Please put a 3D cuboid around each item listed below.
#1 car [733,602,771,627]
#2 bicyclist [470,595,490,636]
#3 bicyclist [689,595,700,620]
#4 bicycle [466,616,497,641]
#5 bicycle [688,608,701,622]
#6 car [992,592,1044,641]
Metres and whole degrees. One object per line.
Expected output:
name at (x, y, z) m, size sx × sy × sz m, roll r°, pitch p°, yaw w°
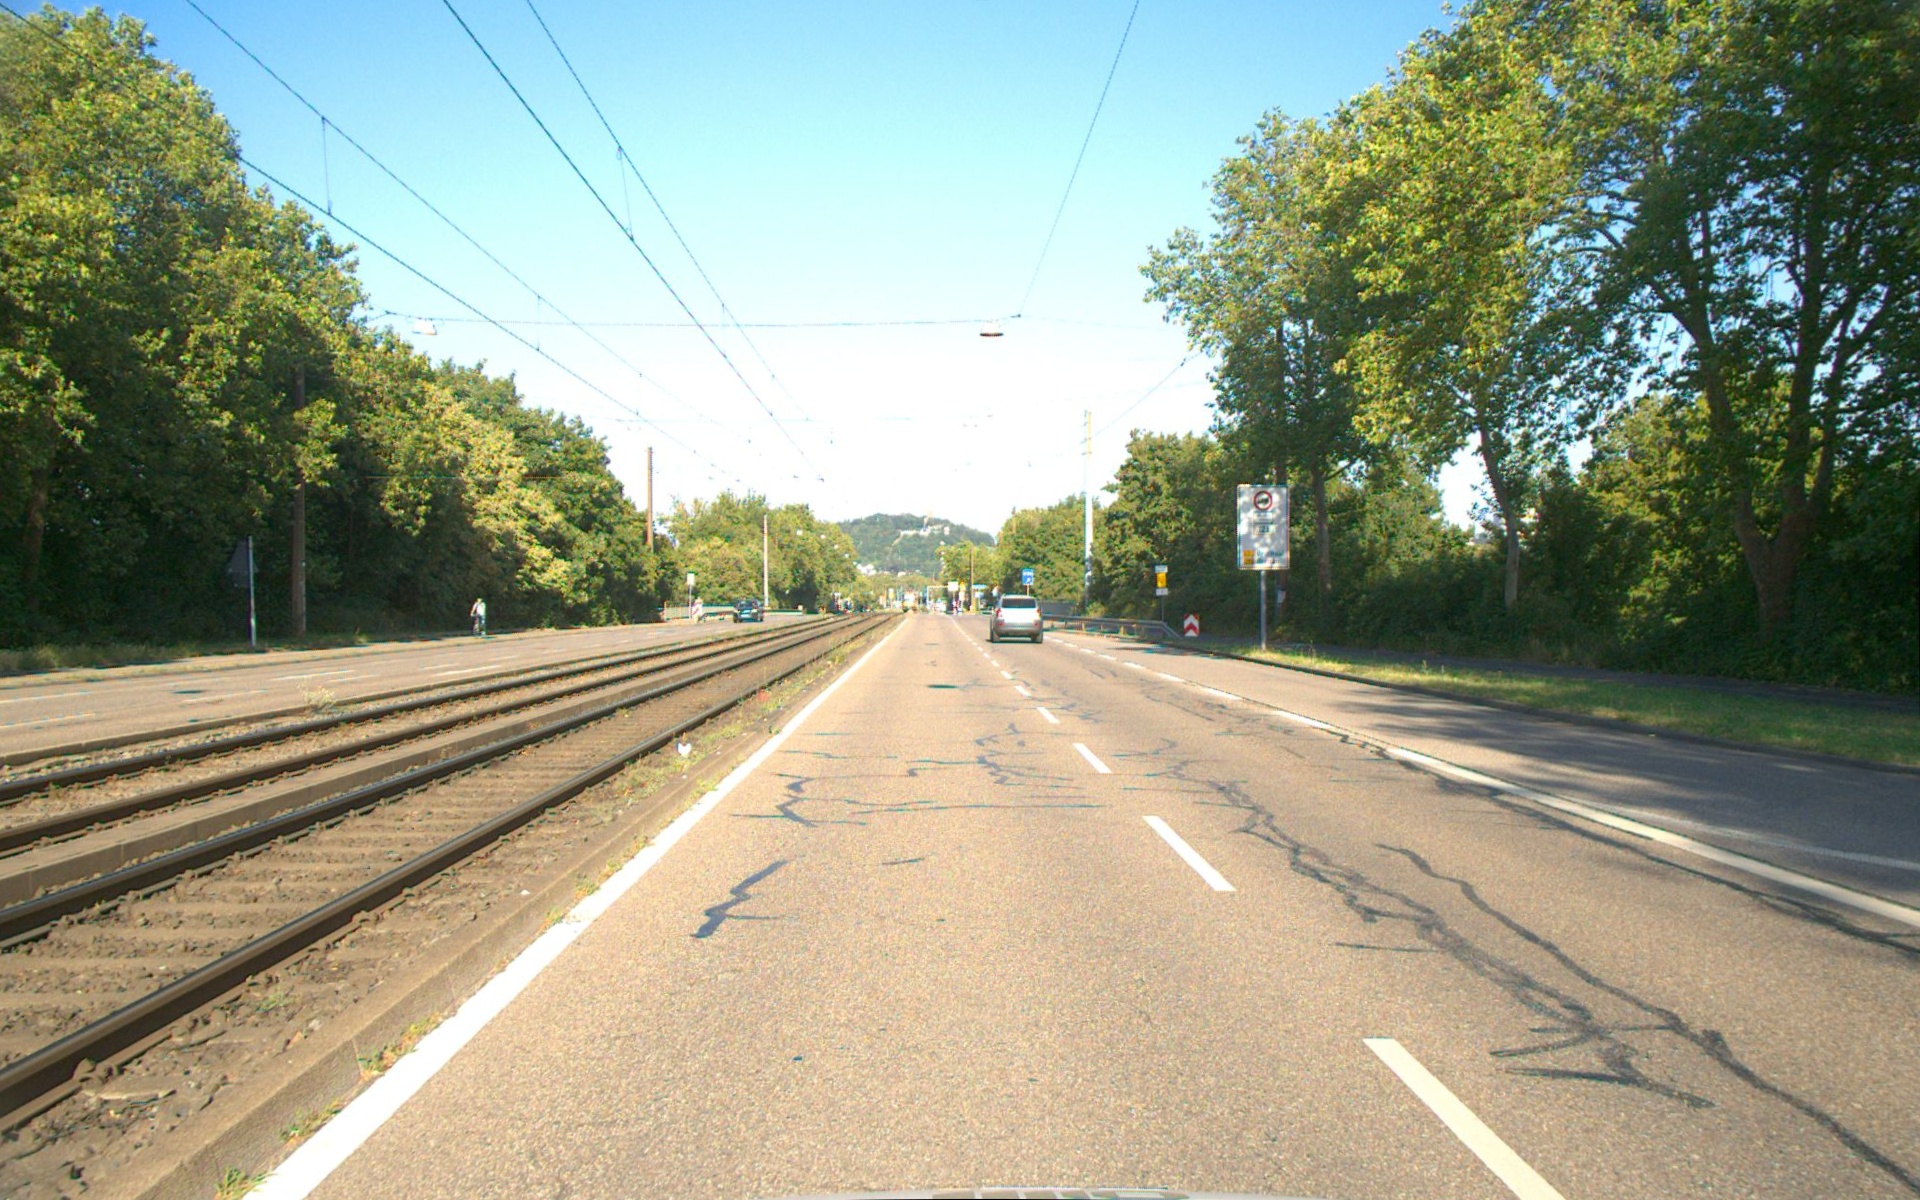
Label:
car at (-15.204, 1.070, 120.981) m, size 1.952 × 1.715 × 4.796 m, roll -2°, pitch 0°, yaw 2°
bicyclist at (-20.405, 0.675, 70.287) m, size 0.539 × 1.720 × 0.820 m, roll 2°, pitch -1°, yaw 3°
bicyclist at (-18.068, 0.507, 112.549) m, size 0.497 × 1.716 × 0.919 m, roll 2°, pitch -1°, yaw 2°
bicycle at (-20.319, 1.194, 70.290) m, size 0.539 × 1.003 × 2.239 m, roll 2°, pitch 0°, yaw 2°
bicycle at (-18.077, 0.994, 112.536) m, size 0.497 × 0.908 × 2.028 m, roll 2°, pitch 0°, yaw 2°
car at (2.107, 0.597, 60.799) m, size 1.849 × 1.723 × 4.257 m, roll 0°, pitch 0°, yaw 1°
